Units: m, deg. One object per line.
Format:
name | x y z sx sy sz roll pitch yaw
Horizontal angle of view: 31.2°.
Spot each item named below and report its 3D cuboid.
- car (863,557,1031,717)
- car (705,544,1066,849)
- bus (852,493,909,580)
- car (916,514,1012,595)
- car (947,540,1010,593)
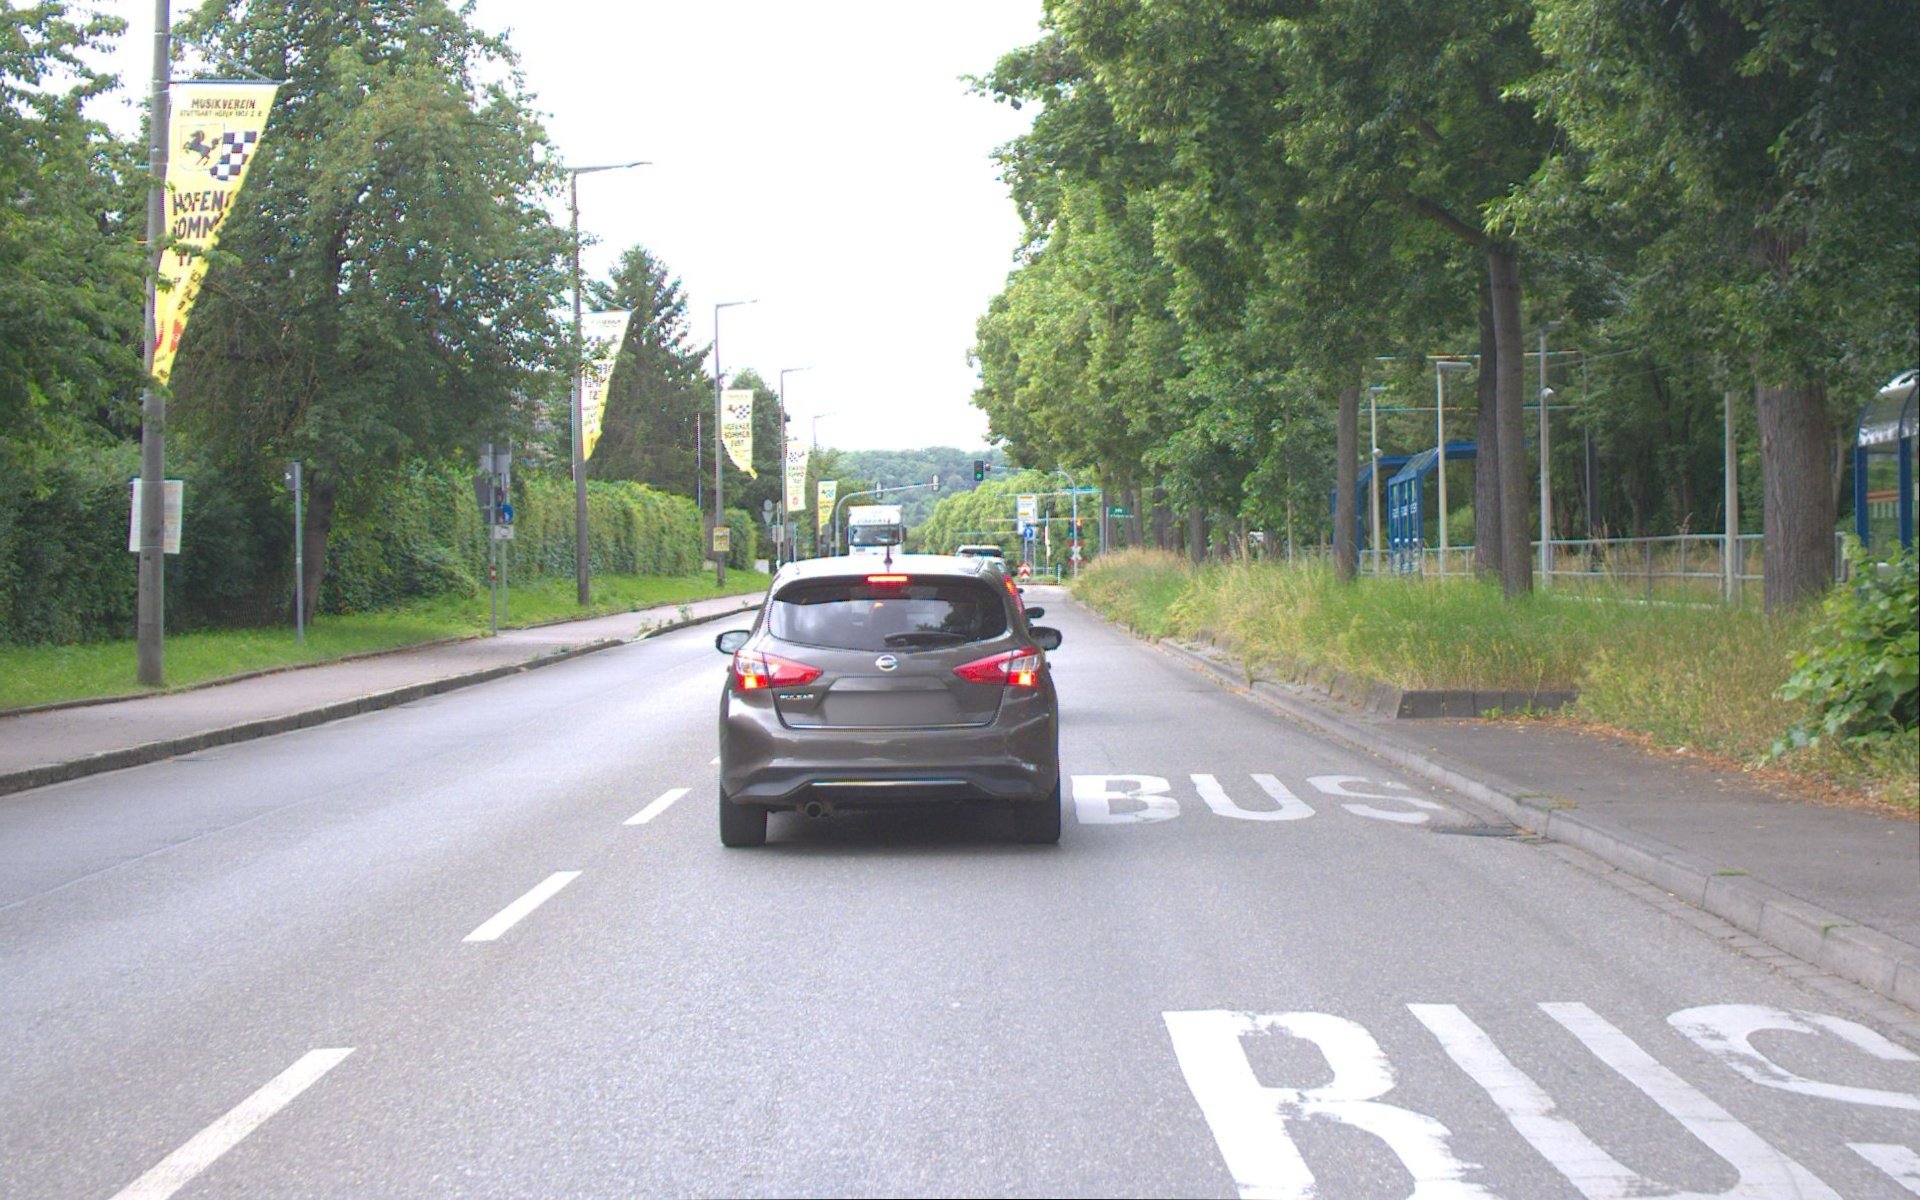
car | -0.113 0.314 32.534 1.502 1.436 3.541 0 1 0
car | -0.352 0.470 18.898 1.783 1.502 3.696 0 0 1
bus | -3.763 -3.037 164.696 2.487 4.012 10.217 0 1 0
car | 0.074 -0.818 62.280 1.691 1.436 3.541 0 1 0
car | 0.507 -0.920 95.112 1.691 1.436 3.541 0 1 0
